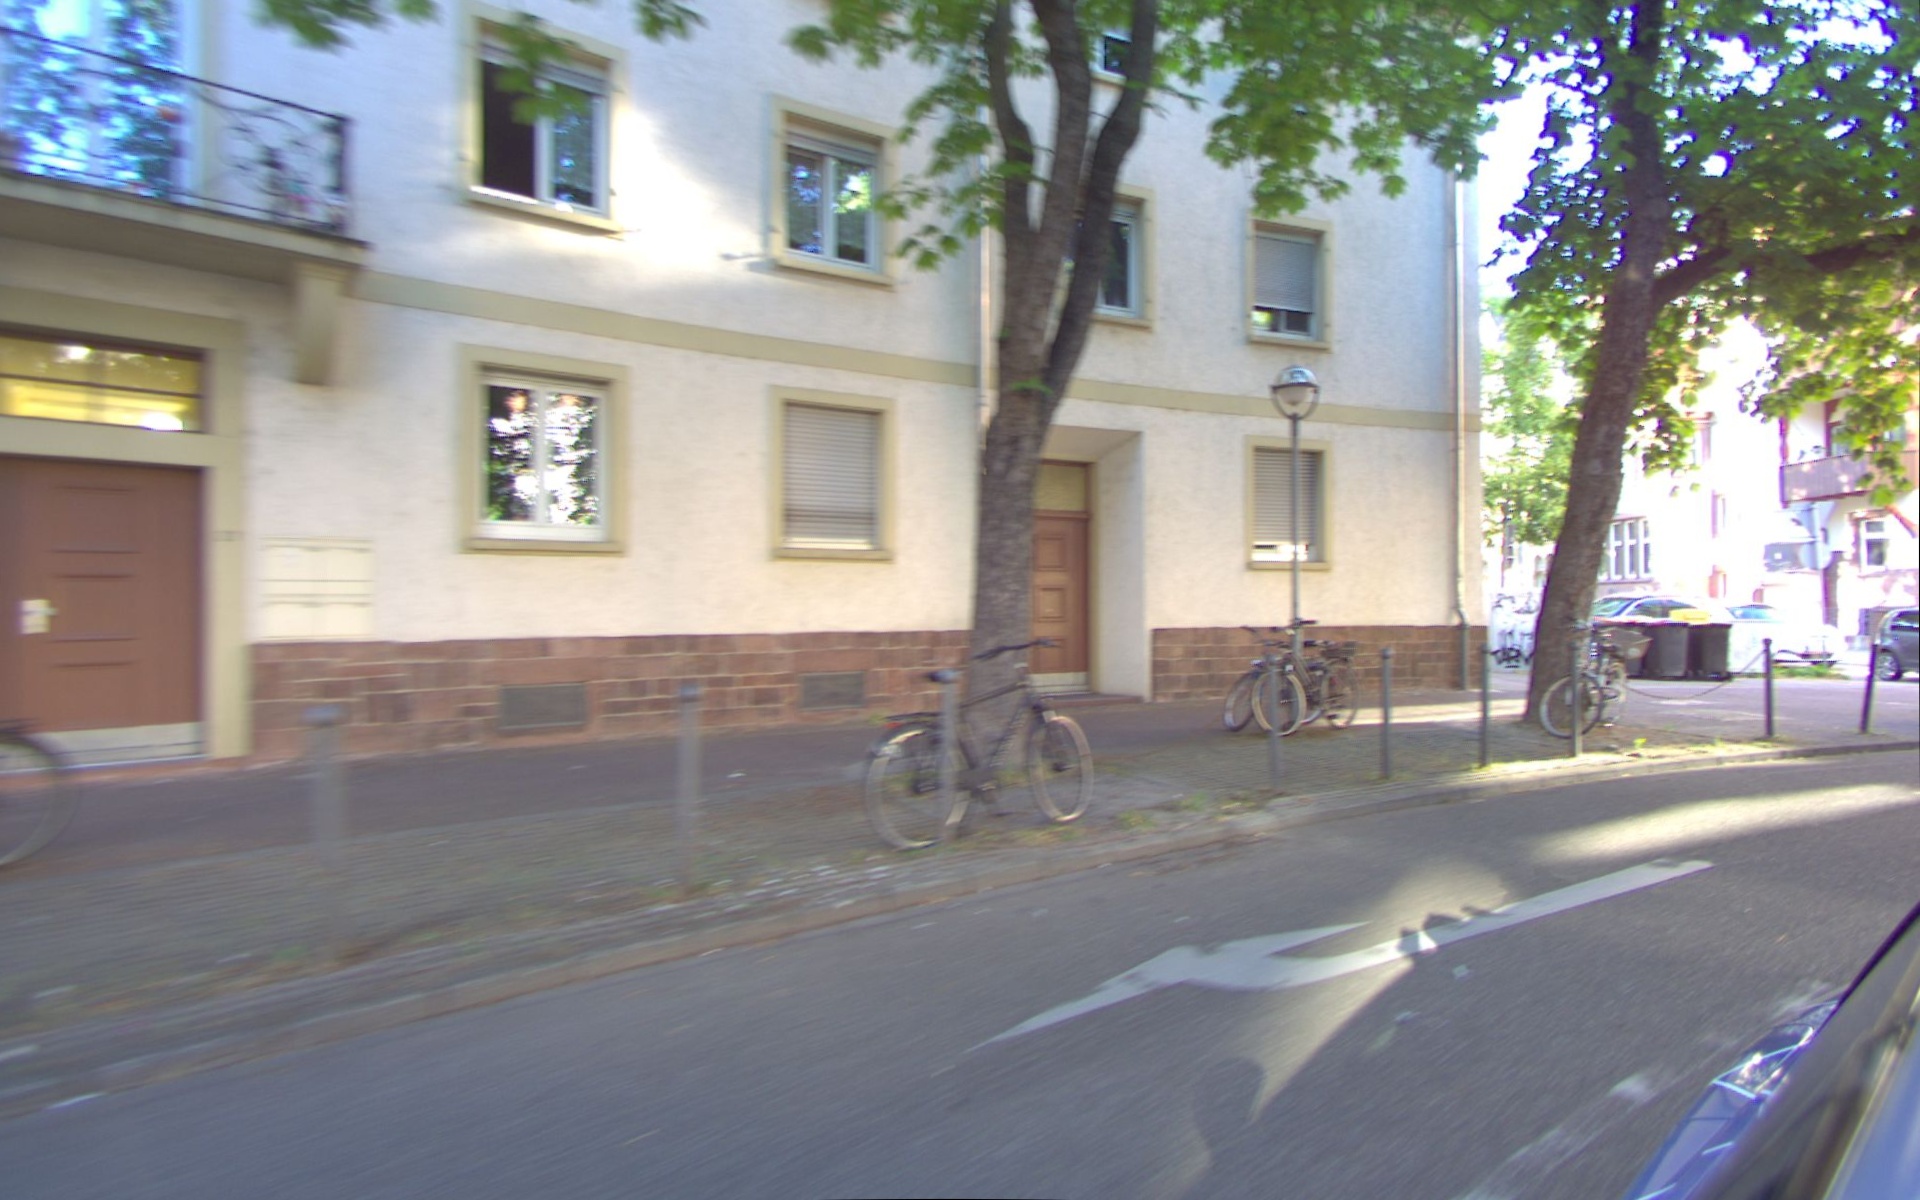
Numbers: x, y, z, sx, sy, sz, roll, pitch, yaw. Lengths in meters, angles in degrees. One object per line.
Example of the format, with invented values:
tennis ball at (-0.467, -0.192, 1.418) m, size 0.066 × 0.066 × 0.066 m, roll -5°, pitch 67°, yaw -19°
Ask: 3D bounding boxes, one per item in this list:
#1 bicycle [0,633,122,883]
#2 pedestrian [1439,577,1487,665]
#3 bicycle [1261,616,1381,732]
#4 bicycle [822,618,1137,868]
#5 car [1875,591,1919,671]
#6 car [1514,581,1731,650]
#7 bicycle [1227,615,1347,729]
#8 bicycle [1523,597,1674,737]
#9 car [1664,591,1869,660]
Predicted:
bicycle at (-5.005, 0.744, 4.482) m, size 0.796 × 1.133 × 1.839 m, roll -1°, pitch -1°, yaw 29°
pedestrian at (9.410, 0.372, 18.931) m, size 0.639 × 1.612 × 0.932 m, roll 0°, pitch 1°, yaw 38°
bicycle at (3.752, 0.729, 10.454) m, size 1.606 × 1.108 × 0.334 m, roll 0°, pitch -1°, yaw -37°
bicycle at (0.169, 0.745, 6.061) m, size 1.880 × 1.238 × 0.719 m, roll 0°, pitch 0°, yaw -40°
car at (19.585, 0.600, 18.702) m, size 1.664 × 1.572 × 4.050 m, roll 0°, pitch -1°, yaw 1°
car at (14.784, 0.332, 22.706) m, size 3.730 × 1.443 × 1.676 m, roll -1°, pitch -1°, yaw -1°
bicycle at (3.478, 0.726, 10.697) m, size 1.606 × 1.108 × 0.334 m, roll 0°, pitch -1°, yaw -37°
bicycle at (6.625, 0.632, 10.468) m, size 1.869 × 1.321 × 0.767 m, roll 0°, pitch 0°, yaw -39°
car at (19.996, 0.608, 25.362) m, size 1.772 × 1.572 × 4.184 m, roll 0°, pitch -1°, yaw 1°
